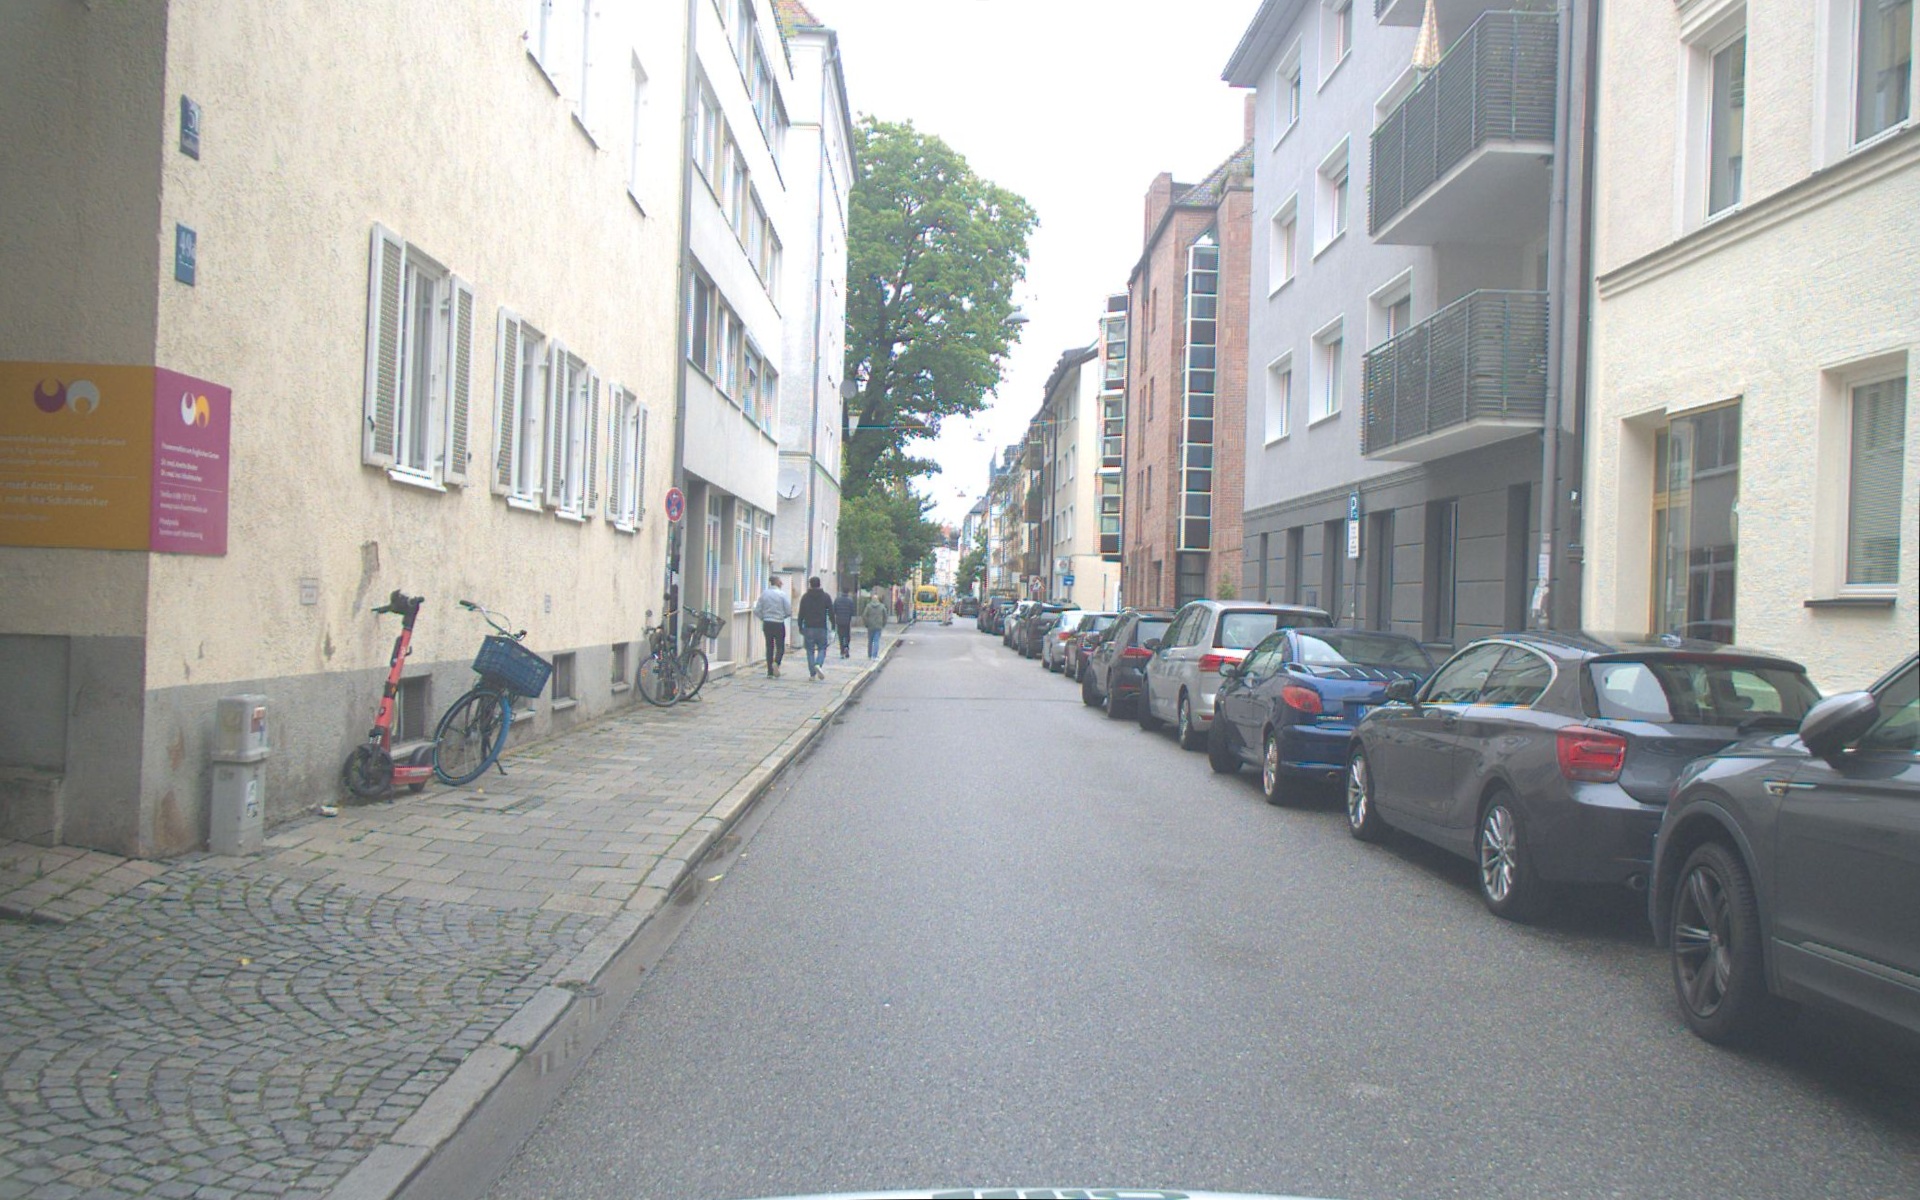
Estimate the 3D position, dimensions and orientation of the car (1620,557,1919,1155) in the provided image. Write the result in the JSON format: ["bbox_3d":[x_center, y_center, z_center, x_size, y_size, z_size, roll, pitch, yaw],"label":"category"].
[{"bbox_3d":[3.562,0.750,4.477,1.642,1.690,4.511,2,0,-1],"label":"car"}]

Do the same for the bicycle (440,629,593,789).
[{"bbox_3d":[-3.229,0.761,12.197,0.690,1.001,1.821,6,-1,-5],"label":"bicycle"}]

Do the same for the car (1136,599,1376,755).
[{"bbox_3d":[3.278,0.798,19.164,1.838,1.598,4.314,0,0,-3],"label":"car"}]

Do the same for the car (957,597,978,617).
[{"bbox_3d":[0.706,0.701,163.143,1.766,1.741,3.825,5,0,-3],"label":"car"}]

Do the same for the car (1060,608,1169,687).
[{"bbox_3d":[3.149,0.940,34.463,1.710,1.487,4.148,2,0,-2],"label":"car"}]

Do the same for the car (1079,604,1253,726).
[{"bbox_3d":[2.886,0.867,24.041,1.803,1.555,4.291,2,0,-2],"label":"car"}]

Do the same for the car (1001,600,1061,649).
[{"bbox_3d":[2.507,0.863,59.288,1.714,1.658,4.194,1,0,-3],"label":"car"}]

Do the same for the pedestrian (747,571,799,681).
[{"bbox_3d":[-3.203,0.444,28.401,0.704,1.828,0.916,3,-1,-1],"label":"pedestrian"}]

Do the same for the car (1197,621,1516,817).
[{"bbox_3d":[3.228,0.906,14.242,1.771,1.387,3.945,1,0,0],"label":"car"}]

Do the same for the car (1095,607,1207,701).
[{"bbox_3d":[3.365,0.919,29.600,1.490,1.538,3.201,2,0,-2],"label":"car"}]

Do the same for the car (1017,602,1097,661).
[{"bbox_3d":[2.804,0.895,48.905,1.848,1.582,4.389,2,0,-3],"label":"car"}]

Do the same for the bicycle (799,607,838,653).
[{"bbox_3d":[-3.854,0.813,45.007,0.632,1.239,1.655,1,-1,-20],"label":"bicycle"}]

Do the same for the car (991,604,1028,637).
[{"bbox_3d":[2.414,1.004,81.021,1.592,1.513,3.807,2,0,-1],"label":"car"}]

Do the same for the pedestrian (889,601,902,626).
[{"bbox_3d":[-3.905,0.833,100.626,0.740,1.517,0.831,1,-1,-1],"label":"pedestrian"}]

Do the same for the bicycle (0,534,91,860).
[{"bbox_3d":[-4.934,0.318,6.972,2.156,1.321,0.514,4,0,-2],"label":"bicycle"}]

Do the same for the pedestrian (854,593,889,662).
[{"bbox_3d":[-2.247,0.688,42.110,0.738,1.688,0.906,4,-1,-1],"label":"pedestrian"}]

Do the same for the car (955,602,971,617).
[{"bbox_3d":[0.321,1.095,191.426,1.764,1.642,3.999,2,0,-1],"label":"car"}]

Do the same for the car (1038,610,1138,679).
[{"bbox_3d":[2.953,0.994,39.059,1.799,1.442,4.599,2,0,-2],"label":"car"}]

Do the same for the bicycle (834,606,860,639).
[{"bbox_3d":[-4.074,0.804,59.614,0.465,1.130,1.751,2,0,-18],"label":"bicycle"}]

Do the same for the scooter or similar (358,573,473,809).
[{"bbox_3d":[-3.422,0.550,10.462,0.311,1.400,1.239,1,-1,-1],"label":"scooter or similar"}]

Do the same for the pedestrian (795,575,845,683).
[{"bbox_3d":[-2.416,0.498,28.604,0.704,1.796,0.838,3,-1,-1],"label":"pedestrian"}]

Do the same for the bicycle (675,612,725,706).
[{"bbox_3d":[-3.451,0.763,22.051,0.551,1.180,1.718,2,-1,-7],"label":"bicycle"}]

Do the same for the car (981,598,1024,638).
[{"bbox_3d":[2.186,0.914,85.378,1.766,1.851,3.998,5,0,-3],"label":"car"}]

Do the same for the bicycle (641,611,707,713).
[{"bbox_3d":[-3.500,0.744,20.334,0.448,1.179,1.605,4,-1,0],"label":"bicycle"}]

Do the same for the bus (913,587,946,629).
[{"bbox_3d":[-2.413,0.655,131.100,2.540,3.156,6.304,1,-1,-1],"label":"bus"}]

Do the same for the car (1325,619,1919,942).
[{"bbox_3d":[3.564,0.849,9.713,1.763,1.410,4.347,1,0,-2],"label":"car"}]

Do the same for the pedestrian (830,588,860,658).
[{"bbox_3d":[-2.915,0.581,41.920,0.600,1.743,0.823,4,-1,-1],"label":"pedestrian"}]
